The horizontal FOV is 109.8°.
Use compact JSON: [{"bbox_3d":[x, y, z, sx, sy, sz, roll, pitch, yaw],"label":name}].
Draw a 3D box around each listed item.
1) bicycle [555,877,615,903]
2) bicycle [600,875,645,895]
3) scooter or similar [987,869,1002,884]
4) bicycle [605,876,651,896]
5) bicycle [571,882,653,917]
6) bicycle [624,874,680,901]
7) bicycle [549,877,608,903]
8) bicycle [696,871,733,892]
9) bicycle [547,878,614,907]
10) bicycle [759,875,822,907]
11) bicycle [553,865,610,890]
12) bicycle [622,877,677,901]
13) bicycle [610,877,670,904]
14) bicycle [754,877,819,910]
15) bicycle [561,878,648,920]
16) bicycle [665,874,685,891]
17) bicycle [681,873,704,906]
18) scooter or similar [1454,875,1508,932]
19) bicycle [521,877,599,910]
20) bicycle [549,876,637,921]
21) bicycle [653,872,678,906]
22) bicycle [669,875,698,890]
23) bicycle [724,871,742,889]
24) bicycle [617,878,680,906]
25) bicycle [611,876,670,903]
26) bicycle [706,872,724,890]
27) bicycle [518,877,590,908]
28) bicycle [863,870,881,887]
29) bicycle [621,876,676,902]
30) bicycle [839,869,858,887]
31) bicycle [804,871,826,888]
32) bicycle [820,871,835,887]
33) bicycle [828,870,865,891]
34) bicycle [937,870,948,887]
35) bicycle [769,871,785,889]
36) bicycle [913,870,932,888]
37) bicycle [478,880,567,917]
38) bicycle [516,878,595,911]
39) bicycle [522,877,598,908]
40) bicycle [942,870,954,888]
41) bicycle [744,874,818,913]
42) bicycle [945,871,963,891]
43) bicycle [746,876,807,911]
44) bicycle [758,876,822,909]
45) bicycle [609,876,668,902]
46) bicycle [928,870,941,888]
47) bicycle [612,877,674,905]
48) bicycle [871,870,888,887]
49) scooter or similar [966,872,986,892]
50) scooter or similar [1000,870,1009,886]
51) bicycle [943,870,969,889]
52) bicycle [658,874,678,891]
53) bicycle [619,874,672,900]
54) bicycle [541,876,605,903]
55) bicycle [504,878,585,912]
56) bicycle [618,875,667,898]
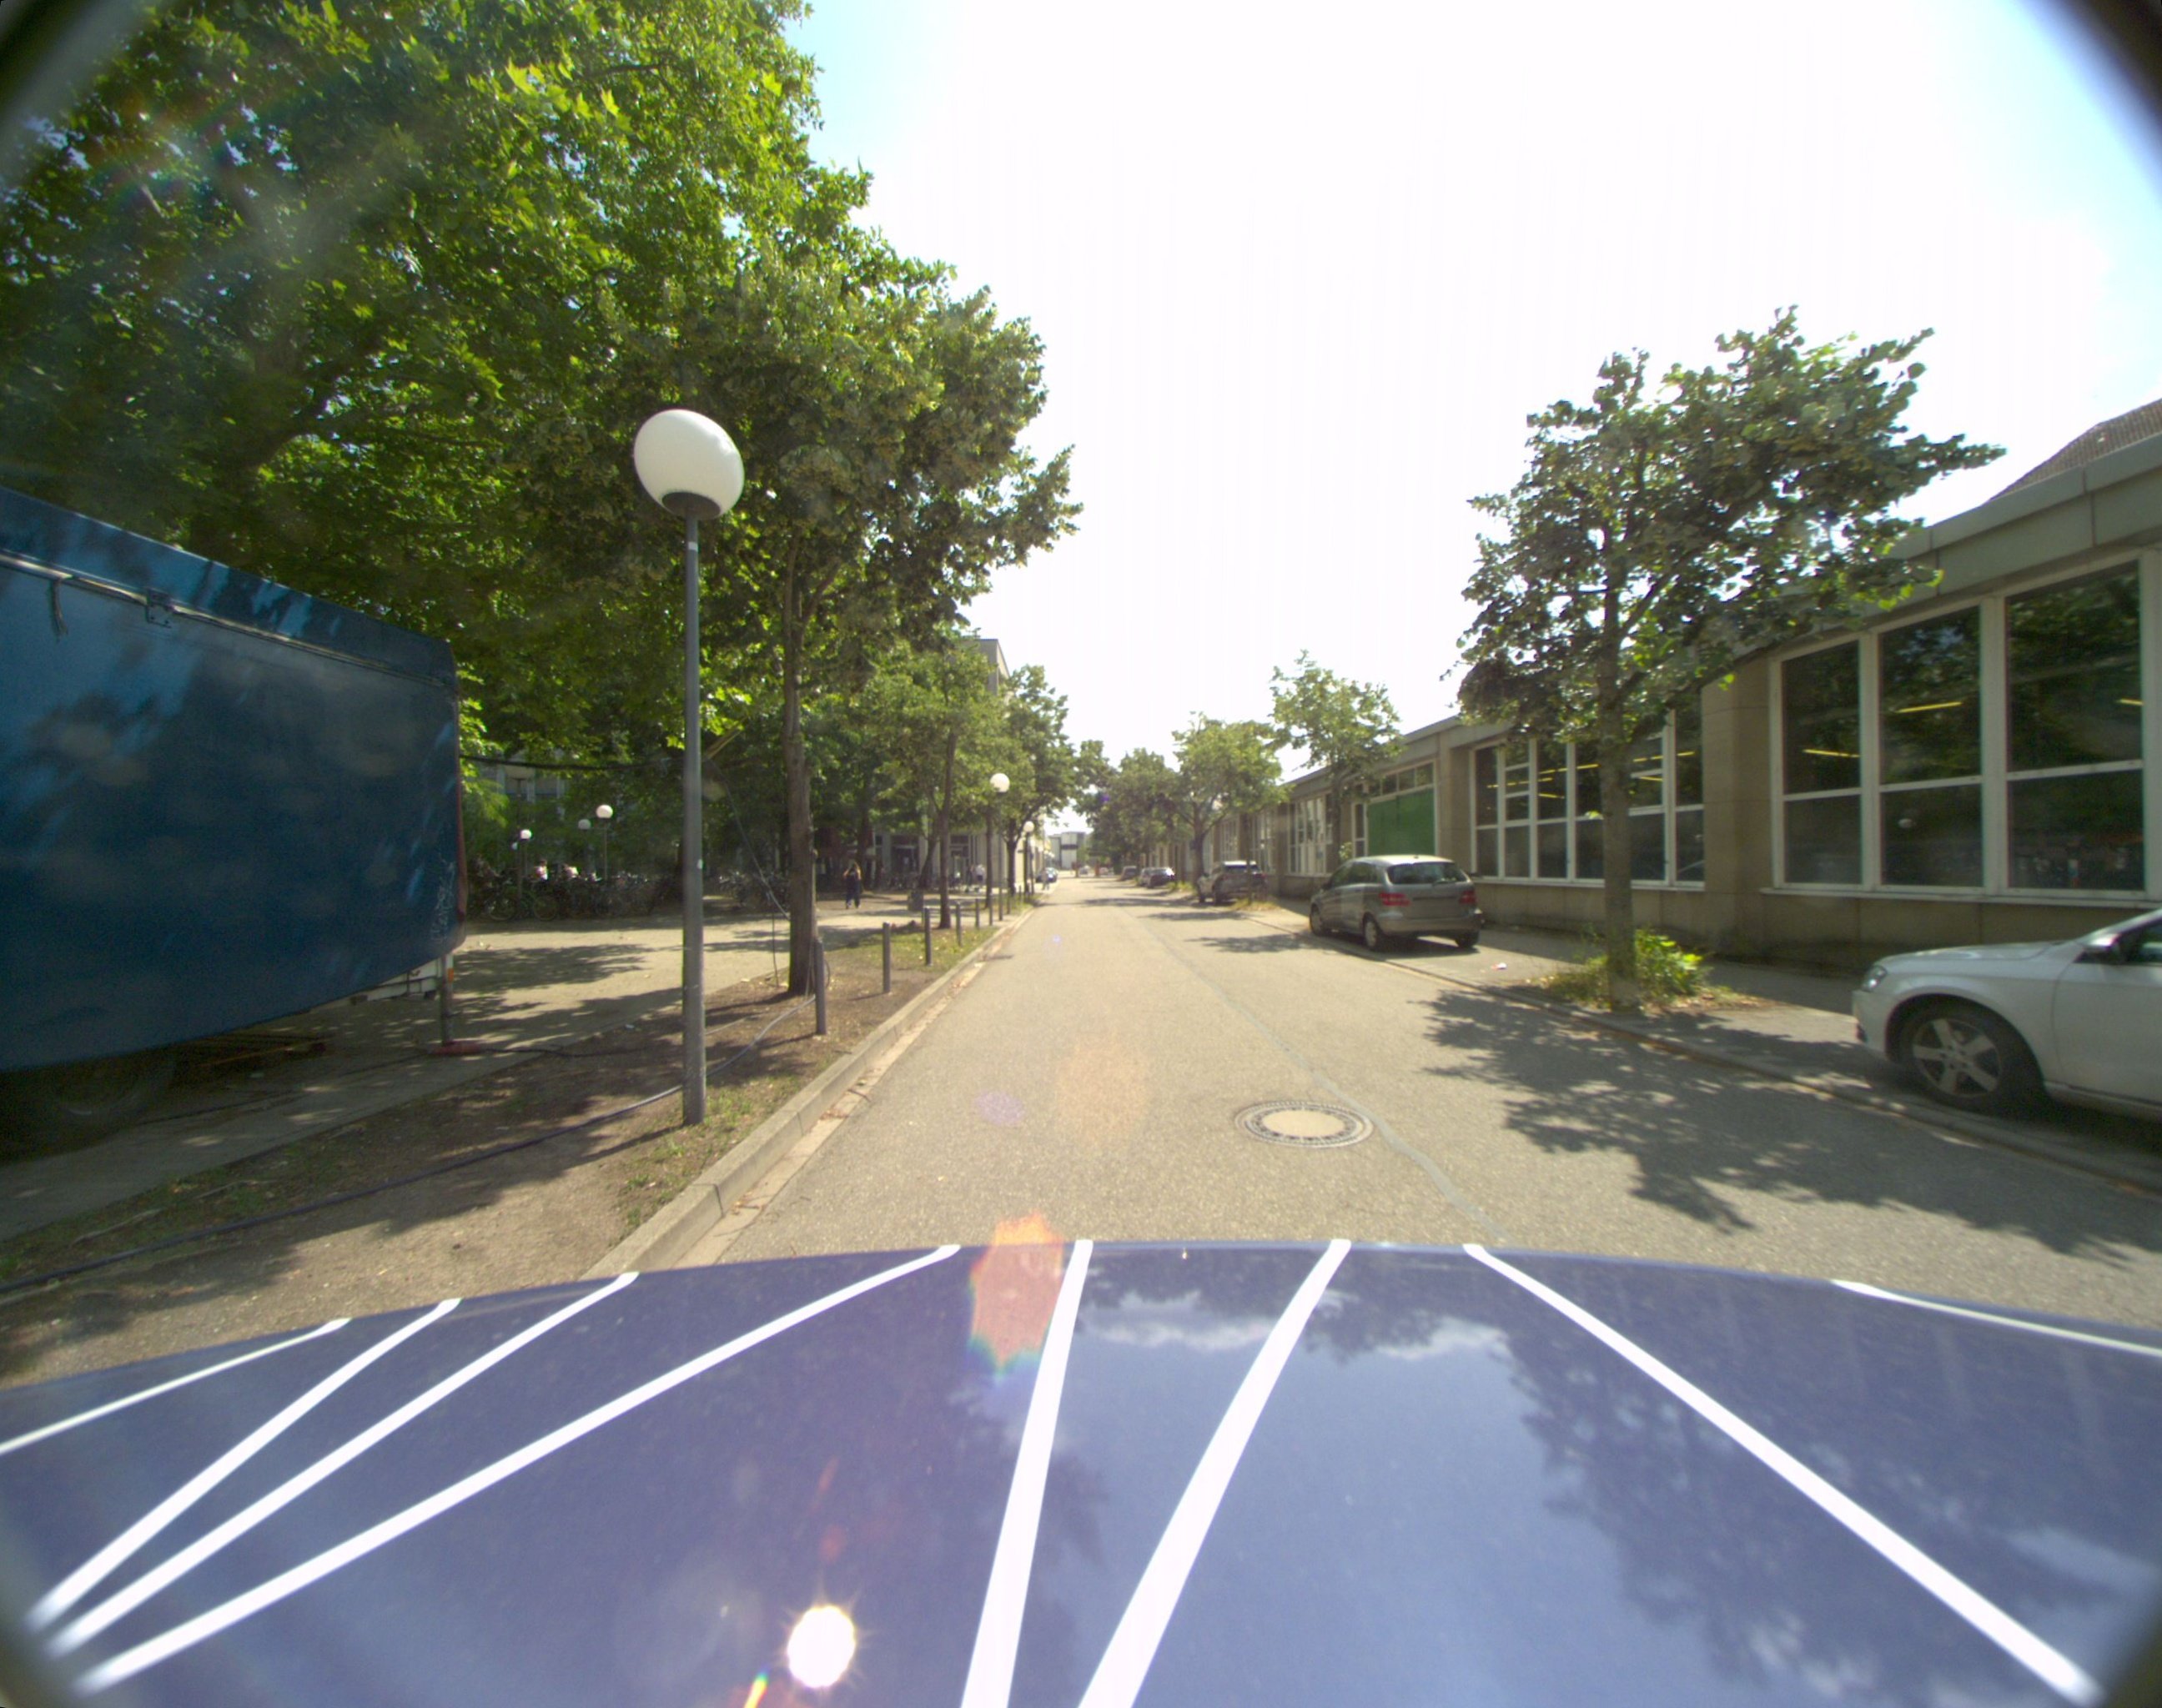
[{"bbox_3d":[-19.123,1.371,29.316,1.908,0.973,0.377,1,0,-39],"label":"bicycle"},{"bbox_3d":[-23.667,1.583,39.267,1.908,0.973,0.477,1,-1,-43],"label":"bicycle"},{"bbox_3d":[-7.772,2.003,68.023,0.566,1.205,1.506,-1,2,-40],"label":"scooter or similar"},{"bbox_3d":[-22.846,1.591,38.334,1.908,0.973,0.477,1,-1,-44],"label":"bicycle"},{"bbox_3d":[-13.407,1.290,21.790,1.906,0.973,0.611,1,0,-22],"label":"bicycle"},{"bbox_3d":[-17.443,1.360,30.916,1.908,1.076,0.477,1,0,-36],"label":"bicycle"},{"bbox_3d":[-19.932,1.418,30.156,1.908,0.973,0.477,1,0,-39],"label":"bicycle"},{"bbox_3d":[-20.798,1.554,43.089,1.849,1.163,0.435,1,-1,-35],"label":"bicycle"},{"bbox_3d":[-17.371,1.325,26.437,1.907,0.973,0.477,1,0,-30],"label":"bicycle"},{"bbox_3d":[-9.919,1.257,25.978,1.950,1.075,0.404,0,-1,-12],"label":"bicycle"},{"bbox_3d":[-20.575,0.968,31.336,1.907,0.973,0.378,1,0,-30],"label":"bicycle"},{"bbox_3d":[-17.896,1.450,31.518,1.908,0.973,0.477,1,0,-39],"label":"bicycle"},{"bbox_3d":[-16.548,1.362,28.540,1.908,0.973,0.477,1,0,-41],"label":"bicycle"},{"bbox_3d":[-9.627,1.283,24.878,1.950,1.075,0.404,0,-1,-12],"label":"bicycle"},{"bbox_3d":[-12.937,1.210,20.673,1.906,1.112,0.611,1,0,-22],"label":"bicycle"},{"bbox_3d":[-26.631,1.854,49.829,0.478,1.077,1.688,-3,-2,-4],"label":"bicycle"},{"bbox_3d":[-13.472,1.224,26.357,0.479,1.076,1.900,1,-1,-21],"label":"bicycle"},{"bbox_3d":[8.639,1.055,16.454,0.506,1.162,1.215,-2,0,0],"label":"scooter or similar"},{"bbox_3d":[-16.047,1.218,23.449,1.906,0.973,0.477,1,0,-23],"label":"bicycle"},{"bbox_3d":[-12.533,1.142,19.588,1.811,1.112,0.611,1,0,-22],"label":"bicycle"},{"bbox_3d":[-14.173,1.184,25.946,0.479,1.076,1.900,1,-1,-21],"label":"bicycle"},{"bbox_3d":[-30.084,2.124,57.523,1.833,1.096,0.570,-1,-2,-2],"label":"bicycle"},{"bbox_3d":[-22.772,1.685,49.744,0.454,1.123,1.688,-3,-2,-5],"label":"bicycle"},{"bbox_3d":[-15.732,1.359,27.682,0.477,0.973,1.908,1,-1,41],"label":"bicycle"},{"bbox_3d":[-16.804,1.348,29.015,1.908,0.973,0.477,1,0,-42],"label":"bicycle"},{"bbox_3d":[-23.886,1.738,49.595,0.454,1.123,1.688,-3,-2,-5],"label":"bicycle"},{"bbox_3d":[-17.347,1.265,25.040,1.907,0.973,0.535,1,0,-34],"label":"bicycle"},{"bbox_3d":[-13.787,1.610,50.236,0.565,1.118,1.698,1,-2,5],"label":"bicycle"},{"bbox_3d":[-17.250,1.387,30.328,1.907,0.973,0.477,1,0,-30],"label":"bicycle"},{"bbox_3d":[-15.336,1.605,50.156,0.627,1.143,1.697,1,-2,2],"label":"bicycle"},{"bbox_3d":[-17.489,1.687,49.980,0.617,1.041,1.698,-3,-2,8],"label":"bicycle"},{"bbox_3d":[-16.679,1.654,50.023,0.568,1.041,1.696,-3,-2,-8],"label":"bicycle"},{"bbox_3d":[-13.543,1.518,43.877,1.928,1.103,0.631,0,1,-37],"label":"bicycle"},{"bbox_3d":[-10.555,1.833,58.124,0.531,1.234,1.829,0,0,-1],"label":"bicycle"},{"bbox_3d":[-20.127,1.713,50.271,0.454,1.123,1.688,-3,-2,-5],"label":"bicycle"},{"bbox_3d":[-10.427,1.641,49.988,0.491,1.134,1.529,1,-2,19],"label":"bicycle"},{"bbox_3d":[-15.185,1.206,20.711,1.907,0.973,0.420,1,0,-28],"label":"bicycle"},{"bbox_3d":[-15.941,1.217,23.087,1.906,0.973,0.477,1,0,-23],"label":"bicycle"},{"bbox_3d":[-16.604,1.221,24.279,1.906,0.973,0.611,1,0,-22],"label":"bicycle"},{"bbox_3d":[-8.762,1.643,50.046,0.561,1.134,1.489,1,0,-3],"label":"bicycle"},{"bbox_3d":[-9.203,1.212,23.376,2.021,1.160,0.651,0,-1,-12],"label":"bicycle"},{"bbox_3d":[-7.322,1.544,43.789,0.629,1.078,1.684,-2,2,-23],"label":"bicycle"},{"bbox_3d":[-9.774,1.264,24.462,1.773,1.075,0.438,0,-1,-12],"label":"bicycle"},{"bbox_3d":[-9.680,1.260,25.307,1.950,1.075,0.404,0,-1,-12],"label":"bicycle"},{"bbox_3d":[-17.068,1.341,29.316,1.908,0.973,0.477,1,0,-42],"label":"bicycle"},{"bbox_3d":[-9.690,1.669,50.293,0.561,1.134,1.490,1,-2,-3],"label":"bicycle"},{"bbox_3d":[-16.158,1.359,28.067,0.477,0.973,1.908,1,-1,41],"label":"bicycle"},{"bbox_3d":[-13.282,1.617,50.078,0.481,1.118,1.698,1,-2,5],"label":"bicycle"},{"bbox_3d":[-6.132,1.638,44.308,0.496,1.107,1.365,0,-2,25],"label":"scooter or similar"},{"bbox_3d":[-6.045,1.888,60.286,0.564,1.204,1.510,2,0,-1],"label":"scooter or similar"},{"bbox_3d":[-8.112,1.642,49.299,0.604,1.134,1.790,2,0,33],"label":"bicycle"},{"bbox_3d":[-27.202,1.850,50.064,0.478,1.077,1.688,-3,-2,-5],"label":"bicycle"},{"bbox_3d":[-18.611,1.400,32.487,1.908,1.076,0.477,1,0,-36],"label":"bicycle"},{"bbox_3d":[-18.404,1.283,27.542,1.888,0.973,0.305,1,0,-28],"label":"bicycle"},{"bbox_3d":[-15.800,1.213,22.410,1.906,0.973,0.421,1,0,-22],"label":"bicycle"},{"bbox_3d":[-19.814,1.463,34.365,1.907,0.973,0.378,1,0,-30],"label":"bicycle"}]
